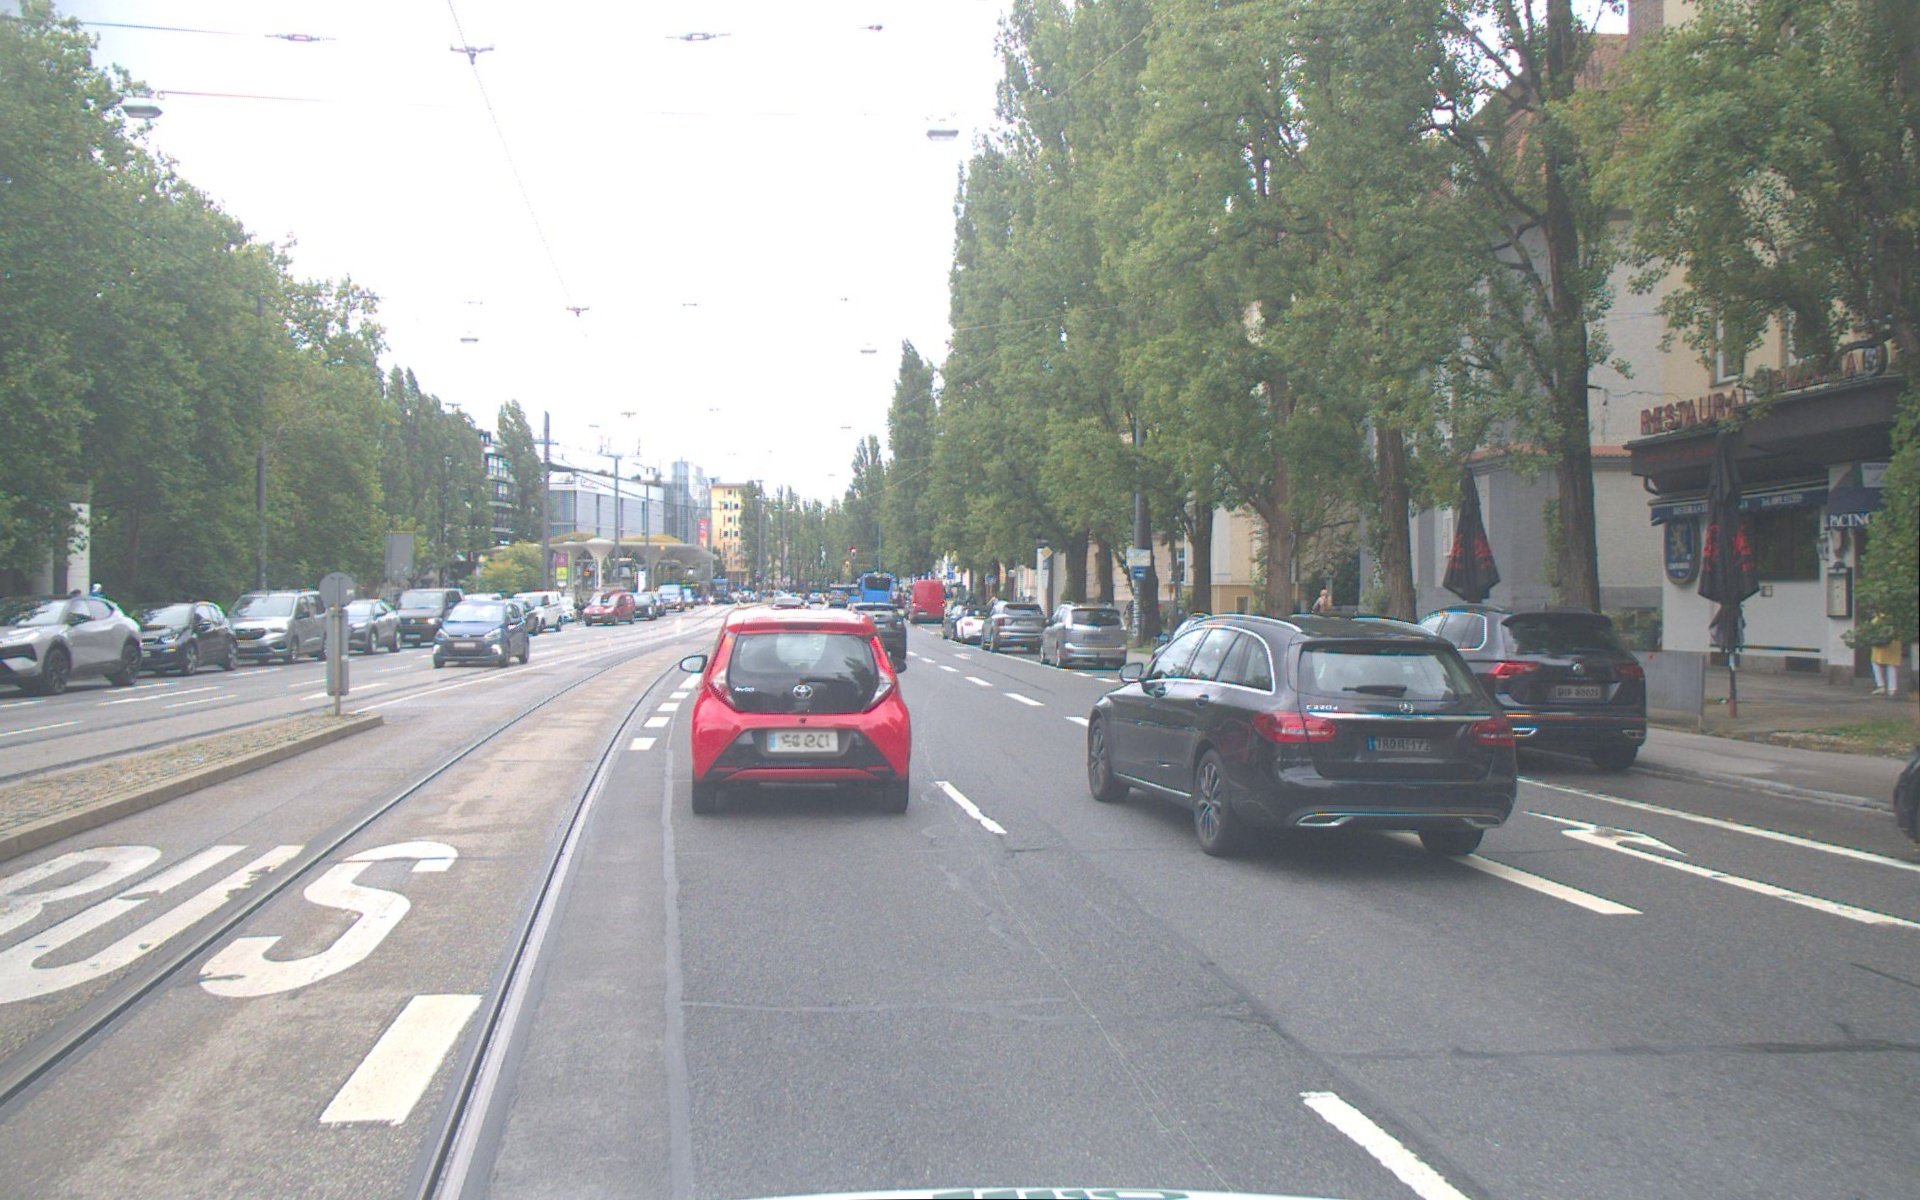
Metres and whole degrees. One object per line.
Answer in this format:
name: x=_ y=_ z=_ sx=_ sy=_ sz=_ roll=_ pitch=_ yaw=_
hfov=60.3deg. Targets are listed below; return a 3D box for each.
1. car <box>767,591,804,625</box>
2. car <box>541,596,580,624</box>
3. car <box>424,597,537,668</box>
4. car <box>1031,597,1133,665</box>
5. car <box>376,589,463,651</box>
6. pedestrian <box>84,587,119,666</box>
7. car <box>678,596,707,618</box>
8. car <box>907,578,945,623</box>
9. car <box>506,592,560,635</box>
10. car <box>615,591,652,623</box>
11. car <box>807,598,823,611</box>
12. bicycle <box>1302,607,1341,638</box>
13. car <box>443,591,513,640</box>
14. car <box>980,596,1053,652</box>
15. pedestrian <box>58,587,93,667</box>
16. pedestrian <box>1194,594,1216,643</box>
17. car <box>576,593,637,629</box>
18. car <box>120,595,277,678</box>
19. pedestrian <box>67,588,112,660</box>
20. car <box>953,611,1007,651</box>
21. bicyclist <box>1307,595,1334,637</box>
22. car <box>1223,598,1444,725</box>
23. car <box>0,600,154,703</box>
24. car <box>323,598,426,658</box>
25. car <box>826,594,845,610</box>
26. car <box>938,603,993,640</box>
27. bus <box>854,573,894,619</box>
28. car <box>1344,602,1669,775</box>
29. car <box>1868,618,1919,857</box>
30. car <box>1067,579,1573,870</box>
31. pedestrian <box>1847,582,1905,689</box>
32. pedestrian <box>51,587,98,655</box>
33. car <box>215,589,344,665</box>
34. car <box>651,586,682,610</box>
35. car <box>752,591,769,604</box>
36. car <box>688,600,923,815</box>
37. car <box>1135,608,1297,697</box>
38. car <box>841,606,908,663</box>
car: x=-8.390 y=0.358 z=79.883 sx=1.702 sy=1.576 sz=4.571 roll=0 pitch=0 yaw=-6
car: x=-23.835 y=0.602 z=98.794 sx=1.766 sy=1.557 sz=4.510 roll=-2 pitch=0 yaw=-8
car: x=-11.278 y=0.736 z=39.168 sx=1.764 sy=1.549 sz=4.349 roll=-1 pitch=0 yaw=-5
car: x=3.053 y=0.737 z=42.281 sx=1.765 sy=1.640 sz=4.540 roll=0 pitch=0 yaw=-7
car: x=-18.613 y=0.653 z=57.151 sx=1.764 sy=2.025 sz=5.033 roll=-1 pitch=0 yaw=-5
pedestrian: x=-22.295 y=0.685 z=42.956 sx=0.575 sy=2.049 sz=0.676 roll=0 pitch=0 yaw=-5
car: x=-21.684 y=0.517 z=134.111 sx=1.763 sy=1.694 sz=4.516 roll=-2 pitch=0 yaw=-3
car: x=-2.107 y=-0.002 z=100.699 sx=1.955 sy=2.619 sz=4.675 roll=1 pitch=2 yaw=-5
car: x=-20.310 y=0.630 z=78.799 sx=1.765 sy=1.894 sz=4.625 roll=-2 pitch=0 yaw=-6
car: x=-19.535 y=0.390 z=99.201 sx=1.765 sy=1.819 sz=4.512 roll=-2 pitch=0 yaw=-7
car: x=-19.400 y=0.611 z=221.299 sx=1.768 sy=1.624 sz=3.998 roll=1 pitch=-3 yaw=-2
bicycle: x=11.586 y=0.714 z=53.076 sx=0.640 sy=0.939 sz=1.900 roll=0 pitch=0 yaw=-7
car: x=-18.881 y=0.588 z=64.948 sx=1.764 sy=1.819 sz=4.514 roll=-2 pitch=0 yaw=-5
car: x=1.857 y=0.768 z=55.728 sx=1.765 sy=1.773 sz=4.694 roll=0 pitch=0 yaw=-7
pedestrian: x=-22.929 y=0.697 z=42.892 sx=0.575 sy=2.049 sz=0.676 roll=0 pitch=0 yaw=-5
pedestrian: x=8.886 y=0.665 z=59.993 sx=0.580 sy=1.769 sz=0.823 roll=1 pitch=1 yaw=-5
car: x=-19.299 y=0.588 z=90.445 sx=1.761 sy=1.819 sz=4.523 roll=-2 pitch=0 yaw=8
car: x=-16.636 y=0.752 z=36.357 sx=1.764 sy=1.696 sz=4.349 roll=-1 pitch=0 yaw=-5
pedestrian: x=-22.361 y=0.606 z=42.503 sx=0.650 sy=1.821 sz=0.819 roll=1 pitch=-1 yaw=3
car: x=0.757 y=1.216 z=65.997 sx=1.764 sy=1.534 sz=3.995 roll=0 pitch=0 yaw=-5
bicyclist: x=11.578 y=0.503 z=53.151 sx=0.647 sy=1.337 sz=0.705 roll=0 pitch=0 yaw=-7
car: x=5.208 y=0.795 z=23.646 sx=1.765 sy=1.640 sz=4.299 roll=0 pitch=0 yaw=-7
car: x=-16.117 y=0.840 z=29.159 sx=1.764 sy=1.671 sz=4.993 roll=-1 pitch=0 yaw=-5
car: x=-17.280 y=0.793 z=49.008 sx=1.764 sy=1.663 sz=4.583 roll=-1 pitch=0 yaw=-5
car: x=-11.946 y=0.153 z=158.136 sx=1.746 sy=1.512 sz=3.995 roll=0 pitch=0 yaw=-5
car: x=0.194 y=0.905 z=71.418 sx=1.766 sy=1.534 sz=4.442 roll=0 pitch=0 yaw=-8
bus: x=-7.198 y=-0.400 z=137.672 sx=2.850 sy=3.455 sz=10.795 roll=1 pitch=2 yaw=-5
car: x=5.800 y=0.850 z=18.189 sx=1.688 sy=1.640 sz=4.464 roll=0 pitch=0 yaw=-7
car: x=7.134 y=0.872 z=9.006 sx=1.766 sy=1.491 sz=3.991 roll=0 pitch=0 yaw=-10
car: x=2.187 y=0.650 z=11.547 sx=1.829 sy=1.576 sz=4.692 roll=0 pitch=1 yaw=-10
pedestrian: x=13.833 y=0.533 z=24.983 sx=0.561 sy=1.589 sz=0.495 roll=1 pitch=1 yaw=-6
pedestrian: x=-22.948 y=0.527 z=42.888 sx=0.650 sy=1.713 sz=0.989 roll=1 pitch=2 yaw=3
car: x=-17.238 y=0.639 z=42.104 sx=1.764 sy=1.810 sz=4.467 roll=-1 pitch=0 yaw=-5
car: x=-21.230 y=-0.135 z=119.856 sx=1.764 sy=1.694 sz=4.514 roll=-2 pitch=0 yaw=-5
car: x=-23.336 y=-0.290 z=193.511 sx=1.746 sy=1.512 sz=3.995 roll=0 pitch=0 yaw=-5
car: x=-1.293 y=0.755 z=13.184 sx=1.598 sy=1.465 sz=3.370 roll=1 pitch=0 yaw=-8
car: x=4.466 y=0.875 z=29.510 sx=1.765 sy=1.423 sz=4.375 roll=0 pitch=0 yaw=-7
car: x=-2.444 y=0.927 z=46.502 sx=1.746 sy=1.512 sz=3.995 roll=0 pitch=0 yaw=-5
